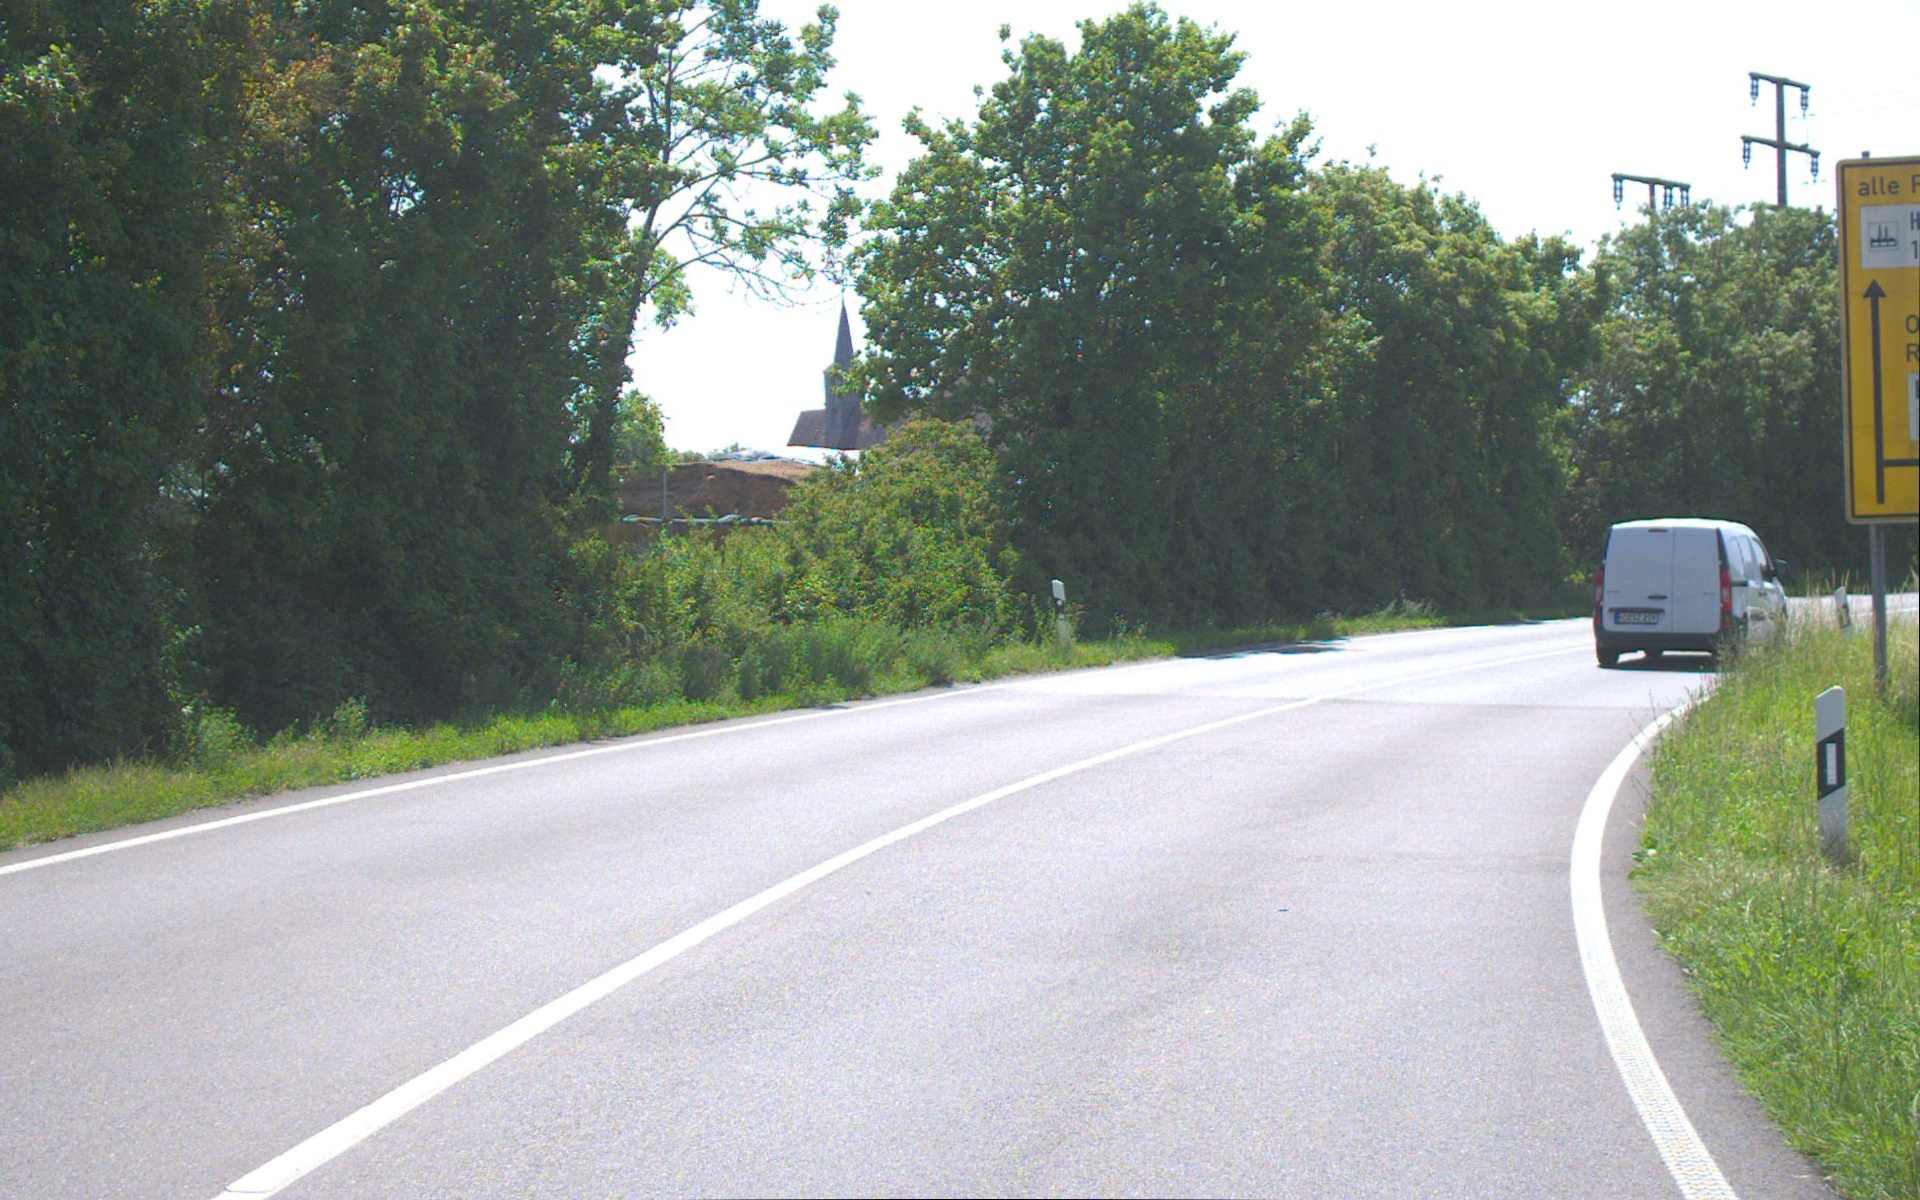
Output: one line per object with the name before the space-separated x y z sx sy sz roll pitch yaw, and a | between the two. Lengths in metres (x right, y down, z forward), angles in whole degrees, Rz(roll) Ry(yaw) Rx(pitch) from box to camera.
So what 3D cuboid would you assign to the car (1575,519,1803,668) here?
car | 9.050 -0.089 42.466 1.906 1.726 3.817 -1 0 25
